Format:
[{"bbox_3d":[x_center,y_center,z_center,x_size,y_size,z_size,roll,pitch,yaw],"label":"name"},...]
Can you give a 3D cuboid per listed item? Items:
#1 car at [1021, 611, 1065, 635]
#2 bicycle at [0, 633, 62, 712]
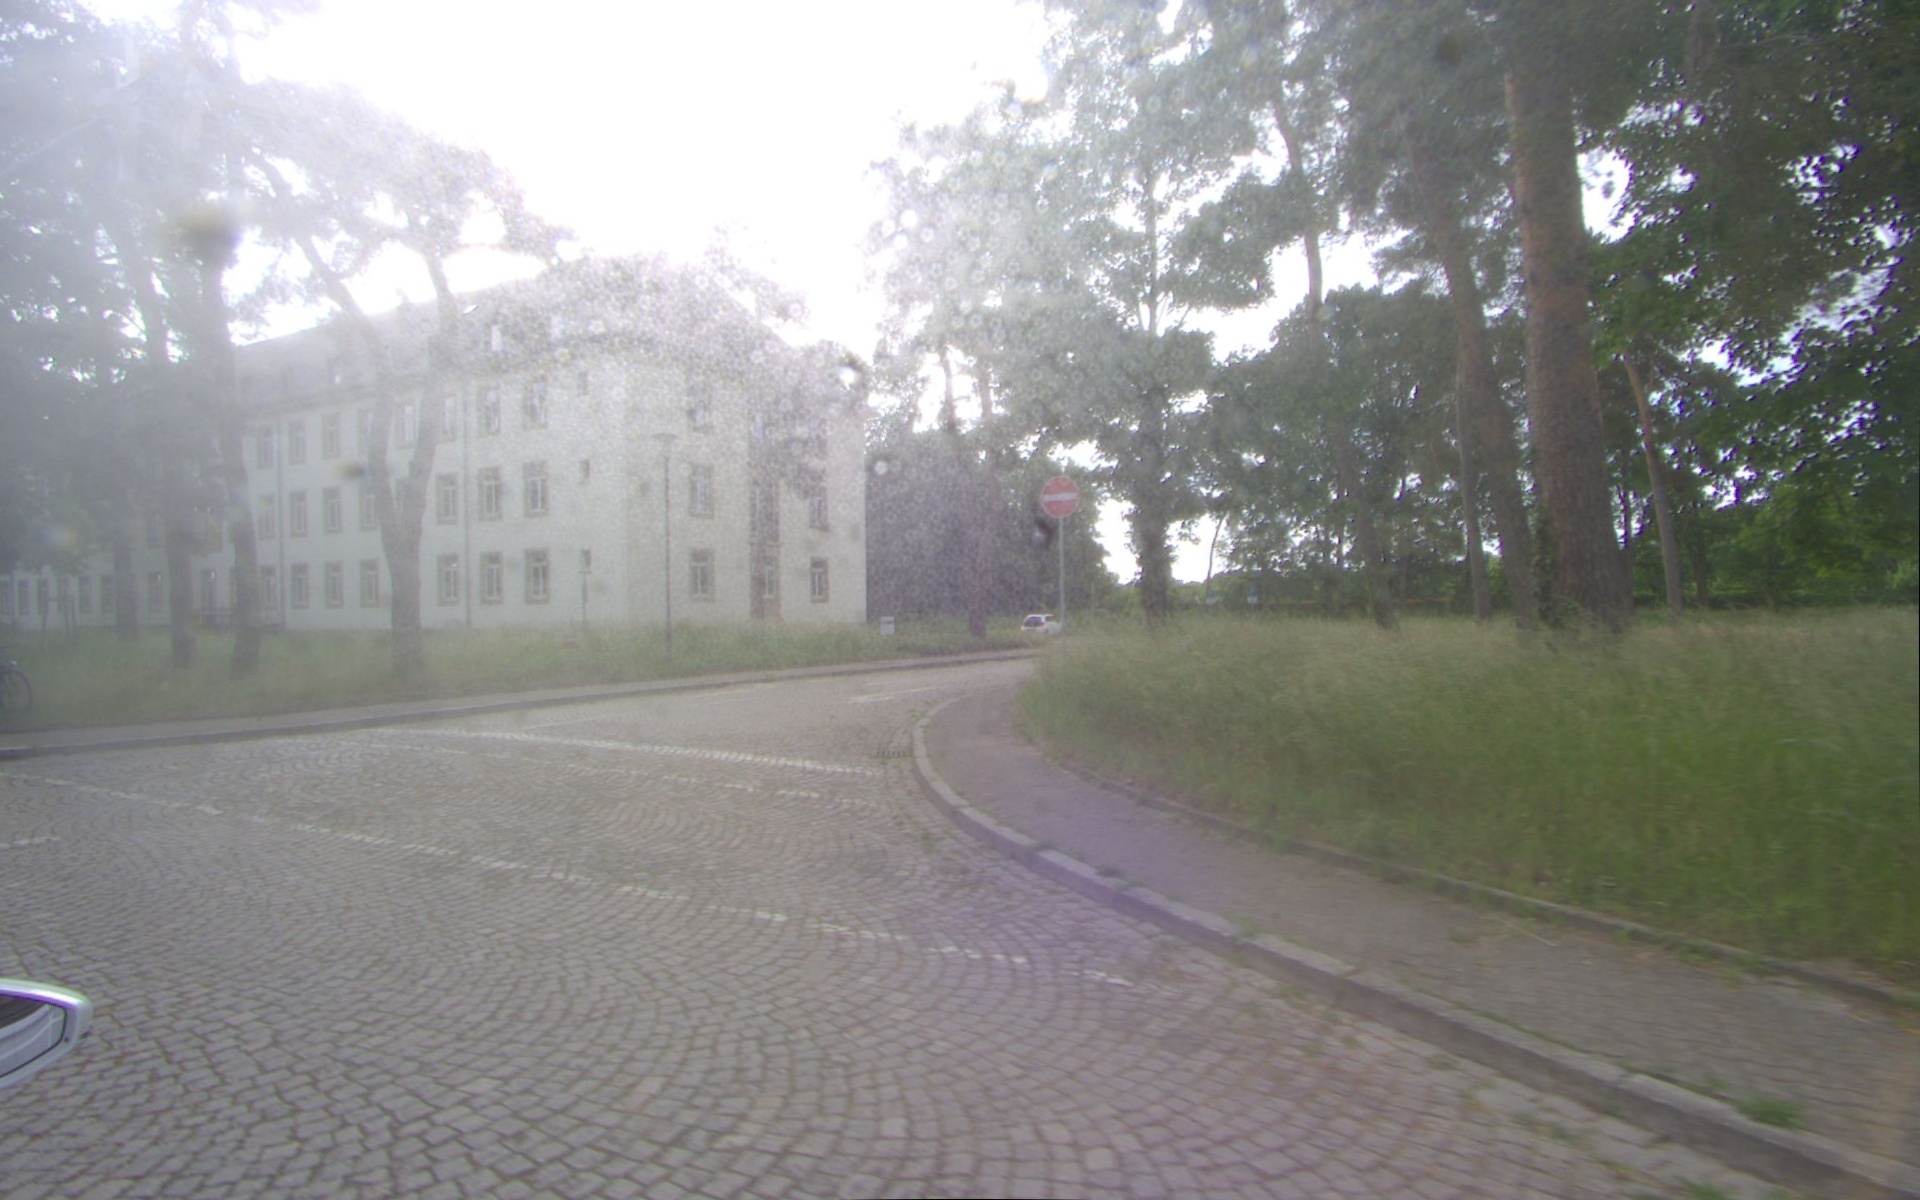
[{"bbox_3d":[5.070,1.418,60.950,1.466,1.455,3.182,-1,-2,30],"label":"car"},{"bbox_3d":[-13.545,1.008,14.337,1.653,0.983,0.579,1,3,33],"label":"bicycle"}]
